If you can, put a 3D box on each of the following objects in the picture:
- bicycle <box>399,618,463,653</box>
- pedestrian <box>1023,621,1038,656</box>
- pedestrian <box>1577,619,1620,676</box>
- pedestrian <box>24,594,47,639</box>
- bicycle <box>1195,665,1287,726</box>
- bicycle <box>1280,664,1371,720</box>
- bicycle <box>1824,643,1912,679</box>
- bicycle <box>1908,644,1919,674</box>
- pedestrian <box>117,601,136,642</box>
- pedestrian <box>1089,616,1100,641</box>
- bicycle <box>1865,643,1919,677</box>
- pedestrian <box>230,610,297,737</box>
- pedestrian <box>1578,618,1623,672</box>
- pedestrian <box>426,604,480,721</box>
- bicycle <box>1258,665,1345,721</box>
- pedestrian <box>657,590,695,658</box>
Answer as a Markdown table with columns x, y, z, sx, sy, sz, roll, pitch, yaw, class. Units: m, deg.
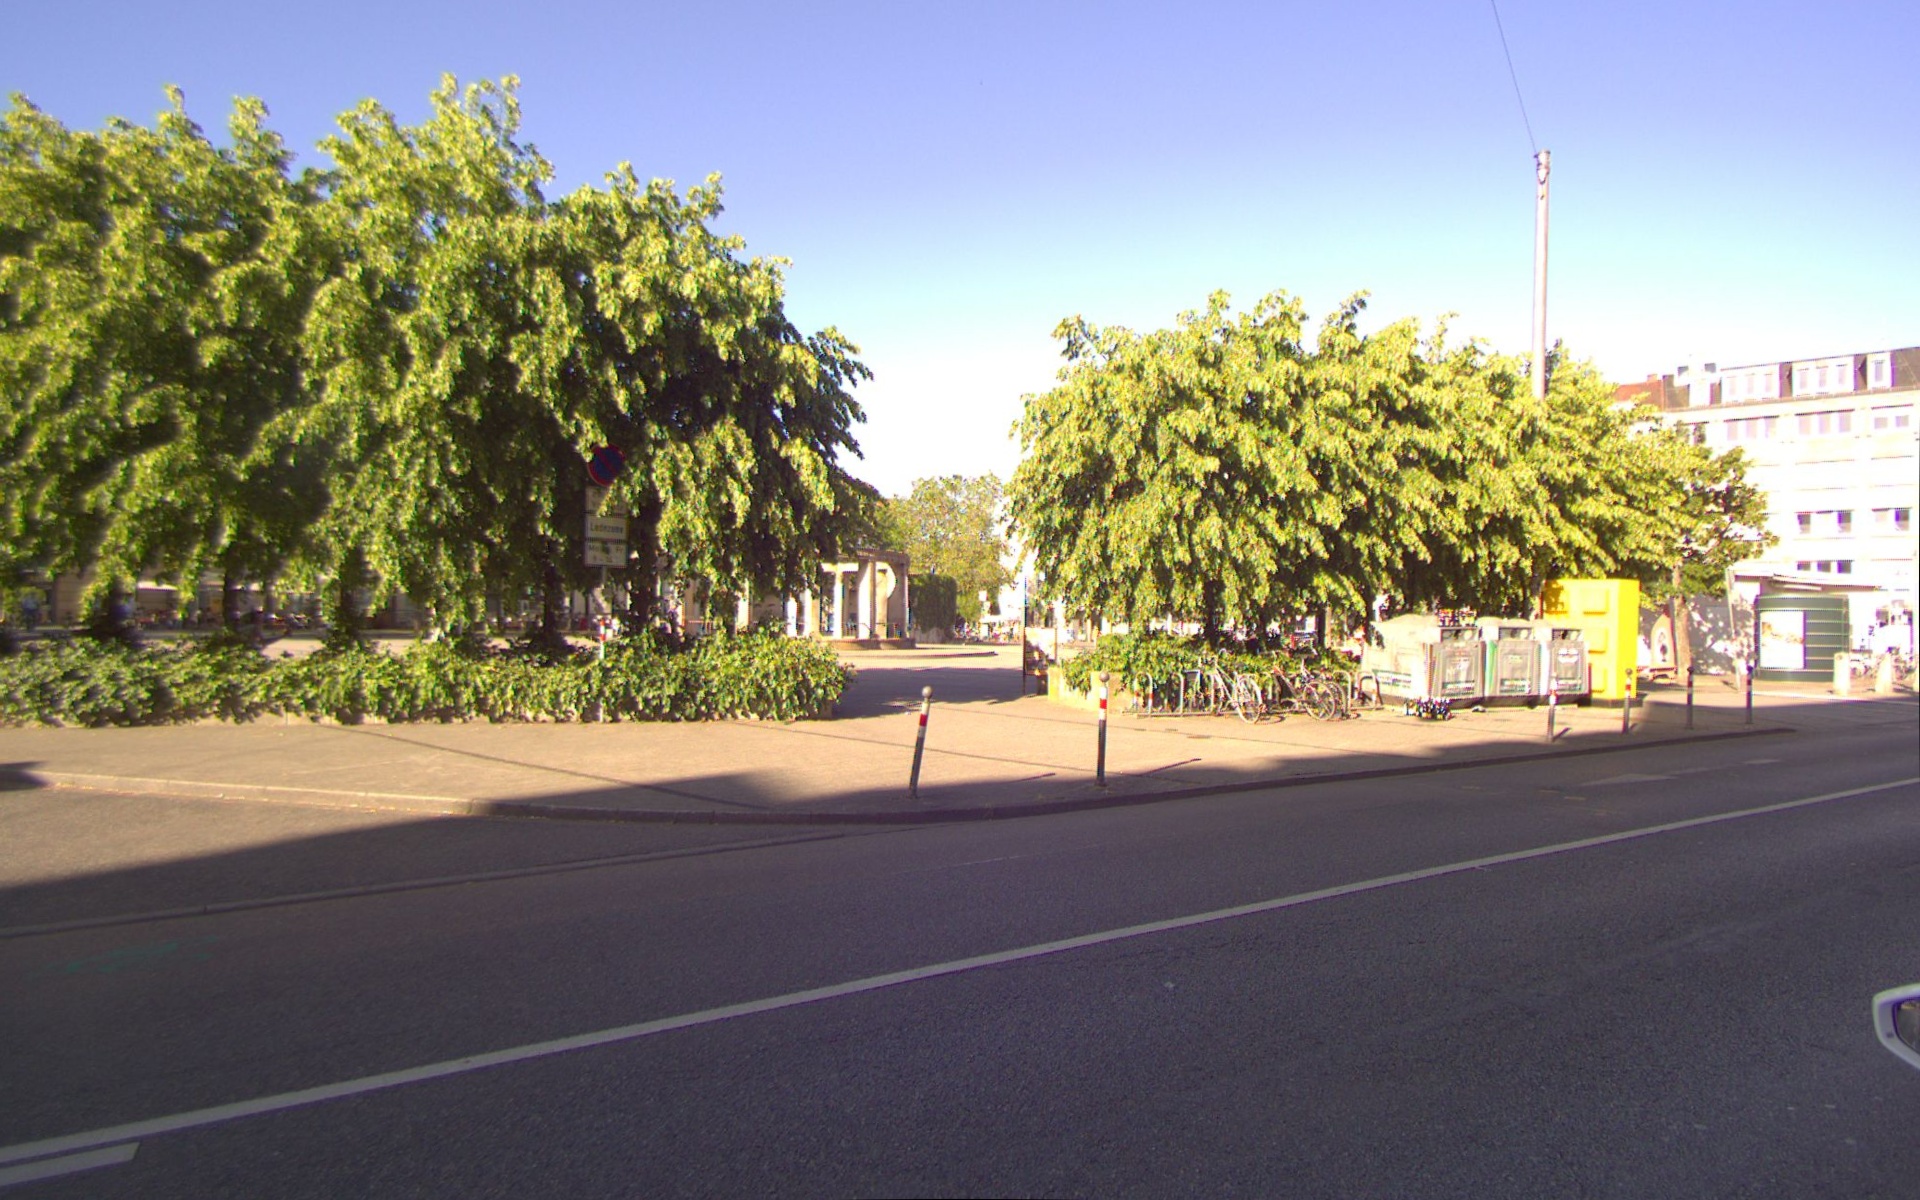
| x | y | z | sx | sy | sz | roll | pitch | yaw | class |
| --- | --- | --- | --- | --- | --- | --- | --- | --- | --- |
| -17.004 | 1.133 | 32.274 | 2.018 | 1.030 | 0.504 | 1 | 0 | 16 | bicycle |
| 4.085 | 2.239 | 58.317 | 0.670 | 2.040 | 0.579 | 2 | 0 | -23 | pedestrian |
| 20.201 | 1.486 | 31.783 | 0.734 | 1.748 | 0.898 | 1 | 0 | -26 | pedestrian |
| -36.991 | 0.660 | 40.197 | 0.597 | 1.816 | 0.576 | 2 | 0 | -40 | pedestrian |
| 4.276 | 1.445 | 15.419 | 0.467 | 0.779 | 1.653 | 2 | 0 | -20 | bicycle |
| 5.959 | 1.486 | 16.422 | 0.468 | 0.779 | 1.468 | 2 | 0 | -27 | bicycle |
| 30.858 | 2.065 | 34.162 | 0.796 | 1.119 | 2.072 | 1 | -1 | -30 | bicycle |
| 37.125 | 2.247 | 37.716 | 0.796 | 1.119 | 2.072 | 1 | -1 | -30 | bicycle |
| -37.502 | 0.961 | 45.197 | 0.597 | 1.816 | 0.575 | 2 | 0 | -44 | pedestrian |
| 9.817 | 2.100 | 73.368 | 0.591 | 1.816 | 0.581 | 1 | 0 | -12 | pedestrian |
| 33.163 | 2.112 | 35.137 | 0.796 | 1.119 | 2.072 | 1 | -1 | -30 | bicycle |
| -10.590 | 1.102 | 15.297 | 0.722 | 1.881 | 0.578 | 2 | 0 | -28 | pedestrian |
| 20.332 | 1.415 | 31.893 | 0.727 | 1.658 | 0.983 | 1 | 0 | -26 | pedestrian |
| -8.467 | 1.025 | 16.769 | 0.574 | 1.881 | 0.598 | 1 | 0 | 41 | pedestrian |
| 5.476 | 1.479 | 16.181 | 0.435 | 0.779 | 1.469 | 2 | 0 | -25 | bicycle |
| -7.649 | 0.641 | 27.038 | 0.918 | 1.775 | 0.728 | 2 | 0 | -15 | pedestrian |
